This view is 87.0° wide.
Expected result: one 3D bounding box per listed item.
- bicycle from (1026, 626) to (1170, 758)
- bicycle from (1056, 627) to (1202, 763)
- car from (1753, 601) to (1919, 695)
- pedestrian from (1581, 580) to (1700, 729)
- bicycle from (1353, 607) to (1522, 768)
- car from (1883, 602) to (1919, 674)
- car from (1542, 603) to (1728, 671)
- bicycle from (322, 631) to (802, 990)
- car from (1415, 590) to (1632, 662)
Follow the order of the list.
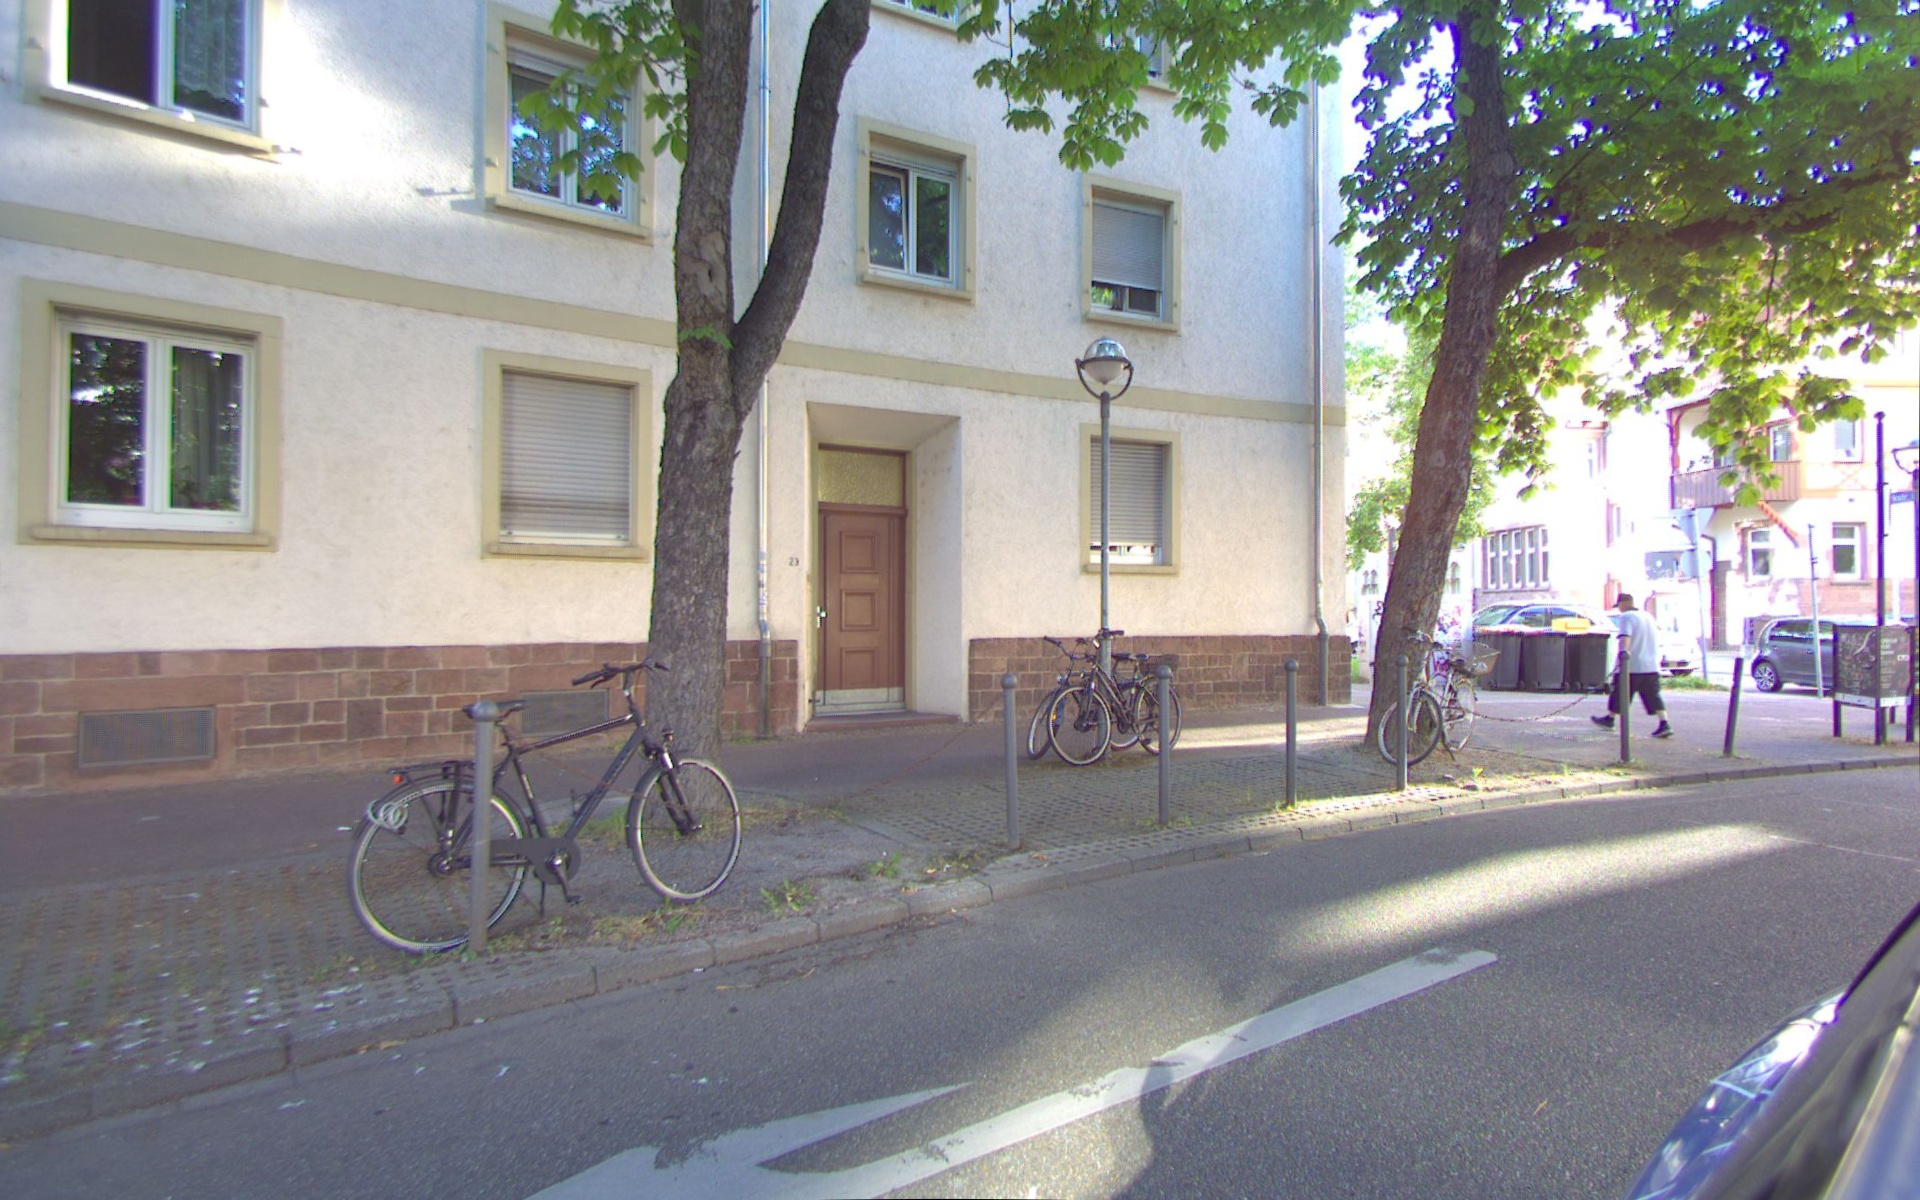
[{"bbox_3d":[1.306,0.807,9.373,1.607,1.108,0.334,0,-1,-41],"label":"bicycle"},{"bbox_3d":[1.549,0.810,9.097,1.607,1.108,0.334,0,-1,-41],"label":"bicycle"},{"bbox_3d":[16.849,0.818,18.314,1.663,1.572,4.053,0,-1,-3],"label":"car"},{"bbox_3d":[7.697,0.582,11.473,0.630,1.612,0.945,0,0,-33],"label":"pedestrian"},{"bbox_3d":[4.414,0.731,9.289,1.871,1.321,0.766,0,-1,-43],"label":"bicycle"},{"bbox_3d":[21.639,0.844,21.253,1.463,1.559,3.217,1,0,-3],"label":"car"},{"bbox_3d":[16.977,0.899,25.739,1.771,1.572,4.187,0,-1,-3],"label":"car"},{"bbox_3d":[-1.697,0.783,4.550,1.882,1.238,0.718,0,-1,-43],"label":"bicycle"},{"bbox_3d":[12.004,0.541,21.709,3.728,1.443,1.677,0,-1,-5],"label":"car"}]
